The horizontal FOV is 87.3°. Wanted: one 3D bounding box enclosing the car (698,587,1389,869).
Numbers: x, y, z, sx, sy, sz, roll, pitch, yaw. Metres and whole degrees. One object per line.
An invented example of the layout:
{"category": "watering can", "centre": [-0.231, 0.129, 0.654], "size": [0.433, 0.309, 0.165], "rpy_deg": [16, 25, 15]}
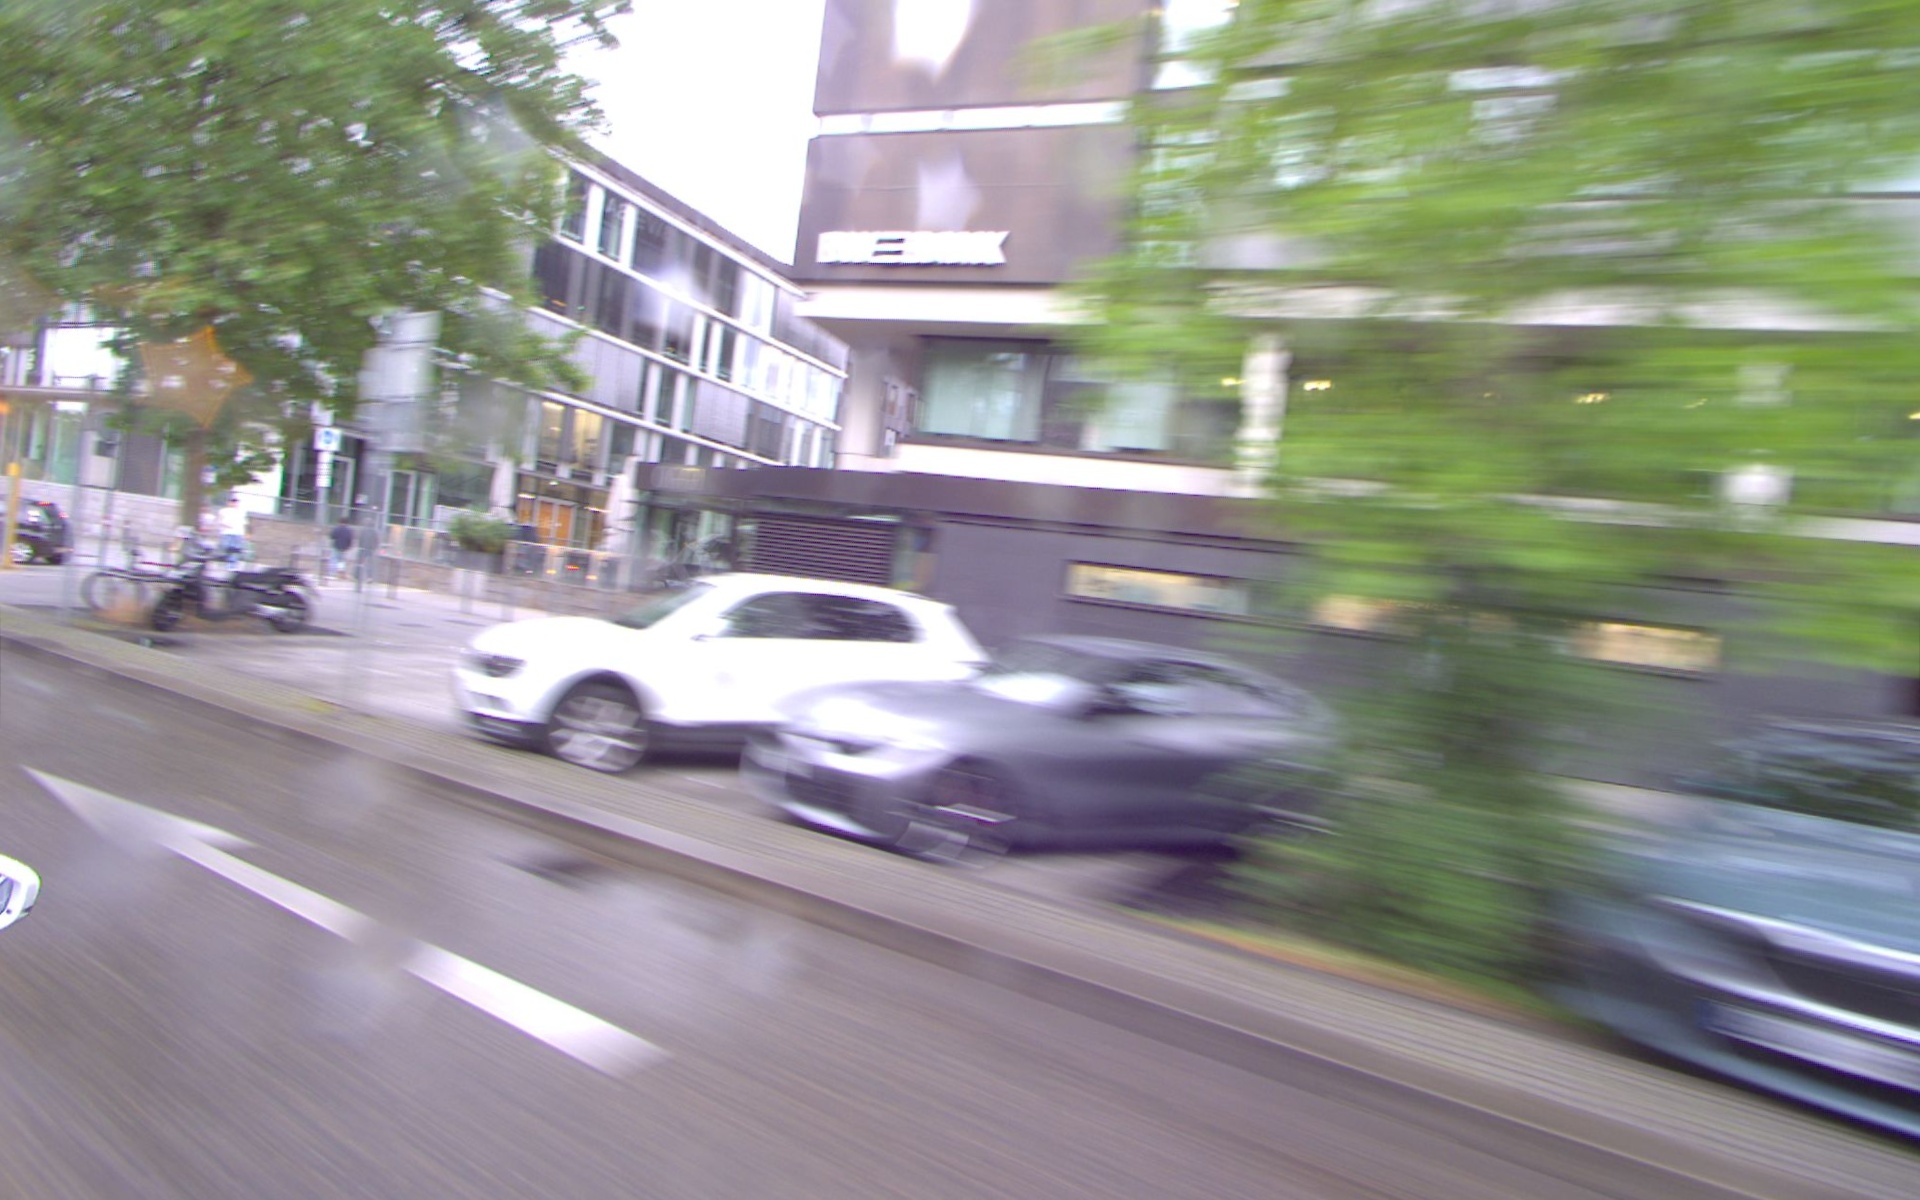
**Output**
{"category": "car", "centre": [0.694, 0.973, 7.403], "size": [4.668, 1.491, 1.903], "rpy_deg": [8, -1, -28]}

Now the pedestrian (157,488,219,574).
{"category": "pedestrian", "centre": [-19.966, -1.764, 26.018], "size": [0.740, 2.064, 0.851], "rpy_deg": [7, 0, 27]}

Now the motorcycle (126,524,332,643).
{"category": "motorcycle", "centre": [-9.978, -0.189, 13.823], "size": [0.667, 1.374, 2.083], "rpy_deg": [7, -1, 38]}

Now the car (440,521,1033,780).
{"category": "car", "centre": [-1.910, 0.521, 9.056], "size": [4.752, 1.670, 1.902], "rpy_deg": [8, -1, -30]}

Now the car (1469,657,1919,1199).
{"category": "car", "centre": [4.557, 1.322, 4.658], "size": [4.315, 1.556, 1.900], "rpy_deg": [8, -1, -33]}

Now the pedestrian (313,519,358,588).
{"category": "pedestrian", "centre": [-17.016, -1.265, 27.420], "size": [0.776, 1.746, 0.636], "rpy_deg": [7, 0, -45]}

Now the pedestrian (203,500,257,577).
{"category": "pedestrian", "centre": [-19.447, -1.640, 26.793], "size": [0.885, 1.891, 0.800], "rpy_deg": [7, 0, 38]}

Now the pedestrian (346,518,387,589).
{"category": "pedestrian", "centre": [-16.287, -1.278, 27.613], "size": [0.677, 1.845, 0.643], "rpy_deg": [7, 0, -44]}

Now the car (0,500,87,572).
{"category": "car", "centre": [-21.809, -1.559, 21.902], "size": [3.781, 1.434, 1.628], "rpy_deg": [7, 0, -21]}
